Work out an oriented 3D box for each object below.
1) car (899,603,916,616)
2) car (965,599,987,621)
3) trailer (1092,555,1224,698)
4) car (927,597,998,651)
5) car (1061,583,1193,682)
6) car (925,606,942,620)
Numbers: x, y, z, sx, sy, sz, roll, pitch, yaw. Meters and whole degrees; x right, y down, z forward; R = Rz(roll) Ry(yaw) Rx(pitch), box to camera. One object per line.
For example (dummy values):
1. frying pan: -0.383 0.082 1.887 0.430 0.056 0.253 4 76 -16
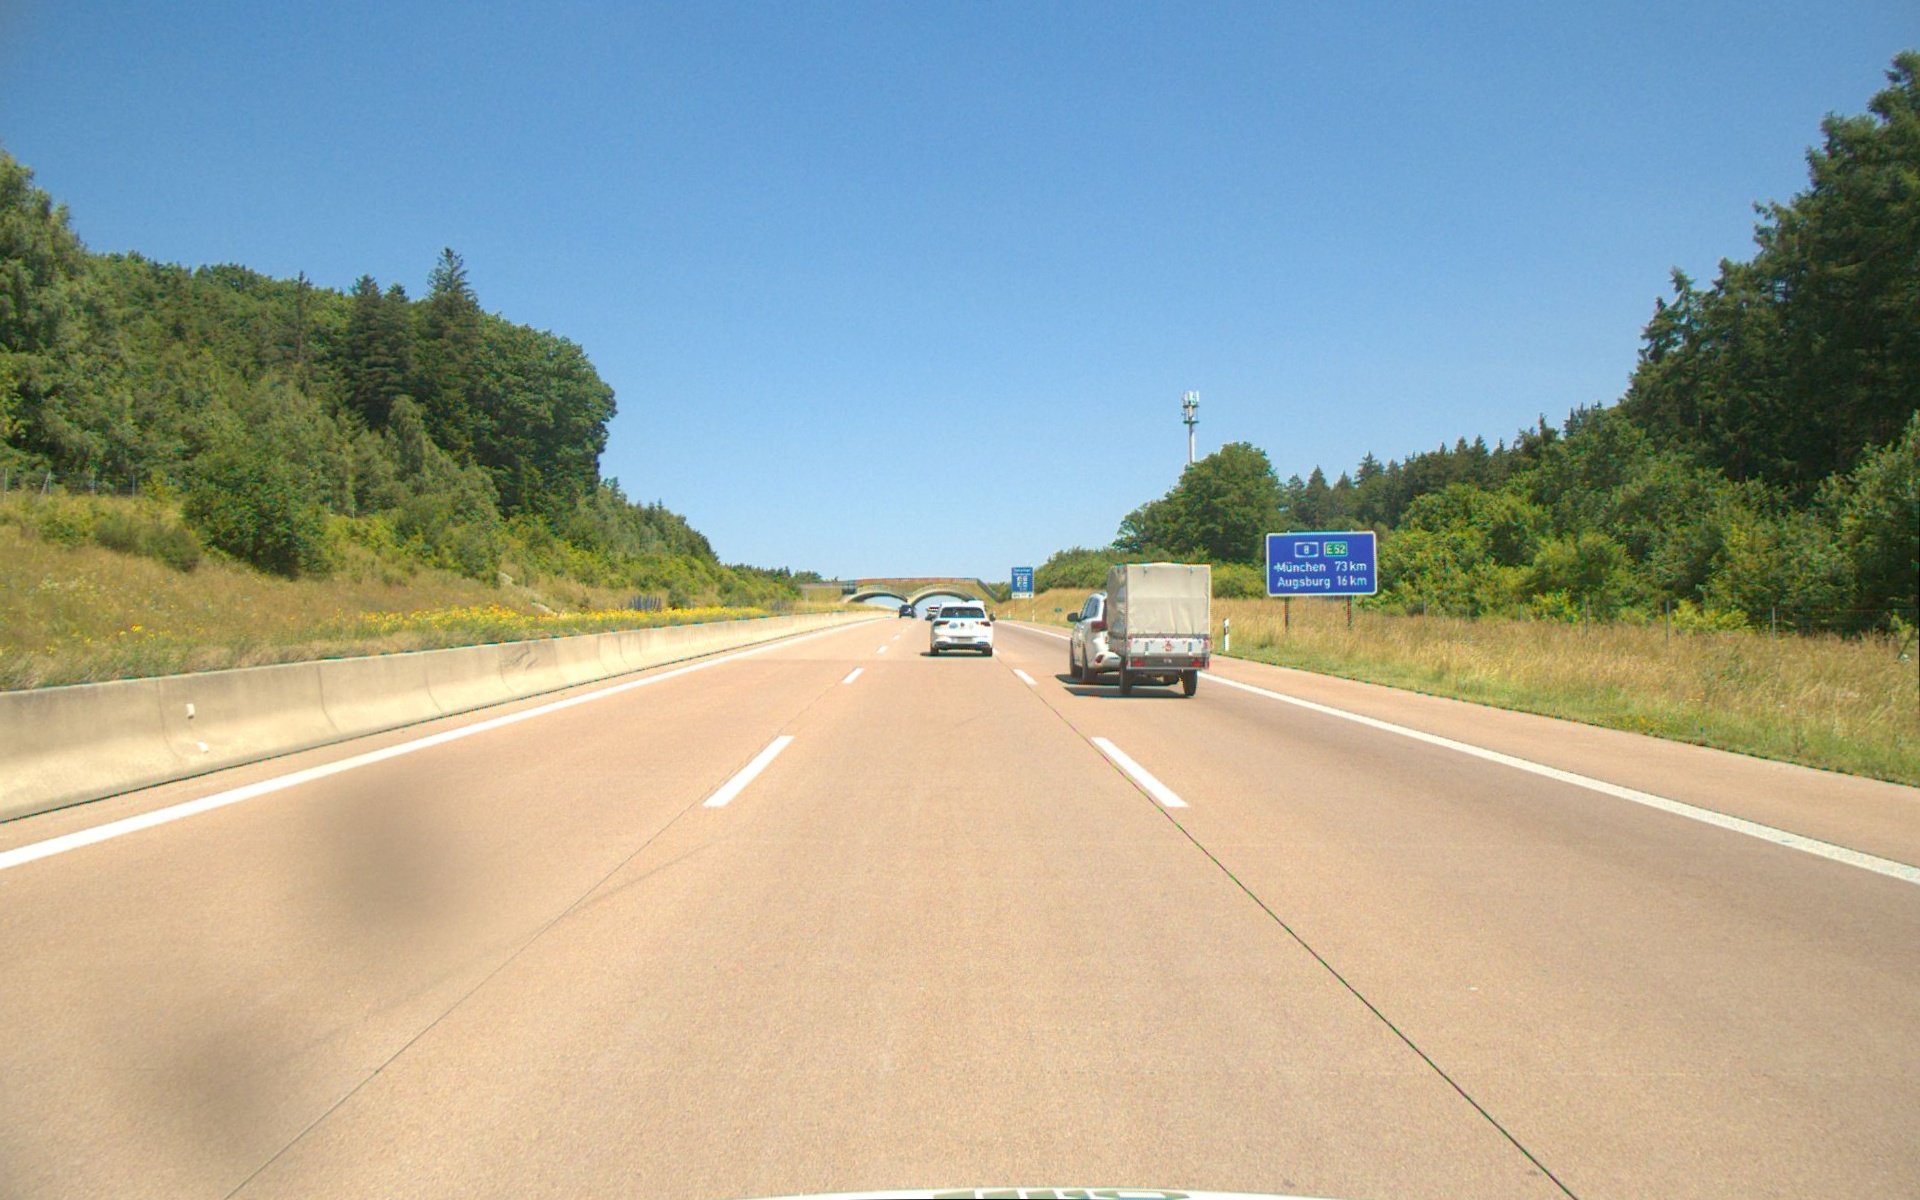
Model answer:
1. car: -6.492 1.157 205.197 1.852 1.489 4.001 0 0 1
2. car: 1.598 0.973 160.872 2.067 2.090 4.001 0 0 1
3. trailer: 3.224 0.416 27.613 1.624 2.202 4.014 0 0 -2
4. car: 0.030 0.643 46.155 1.852 1.422 3.999 1 0 -1
5. car: 3.144 0.595 32.136 1.853 1.758 5.184 0 0 -2
6. car: -3.019 1.484 190.337 1.852 1.489 4.000 1 0 0
